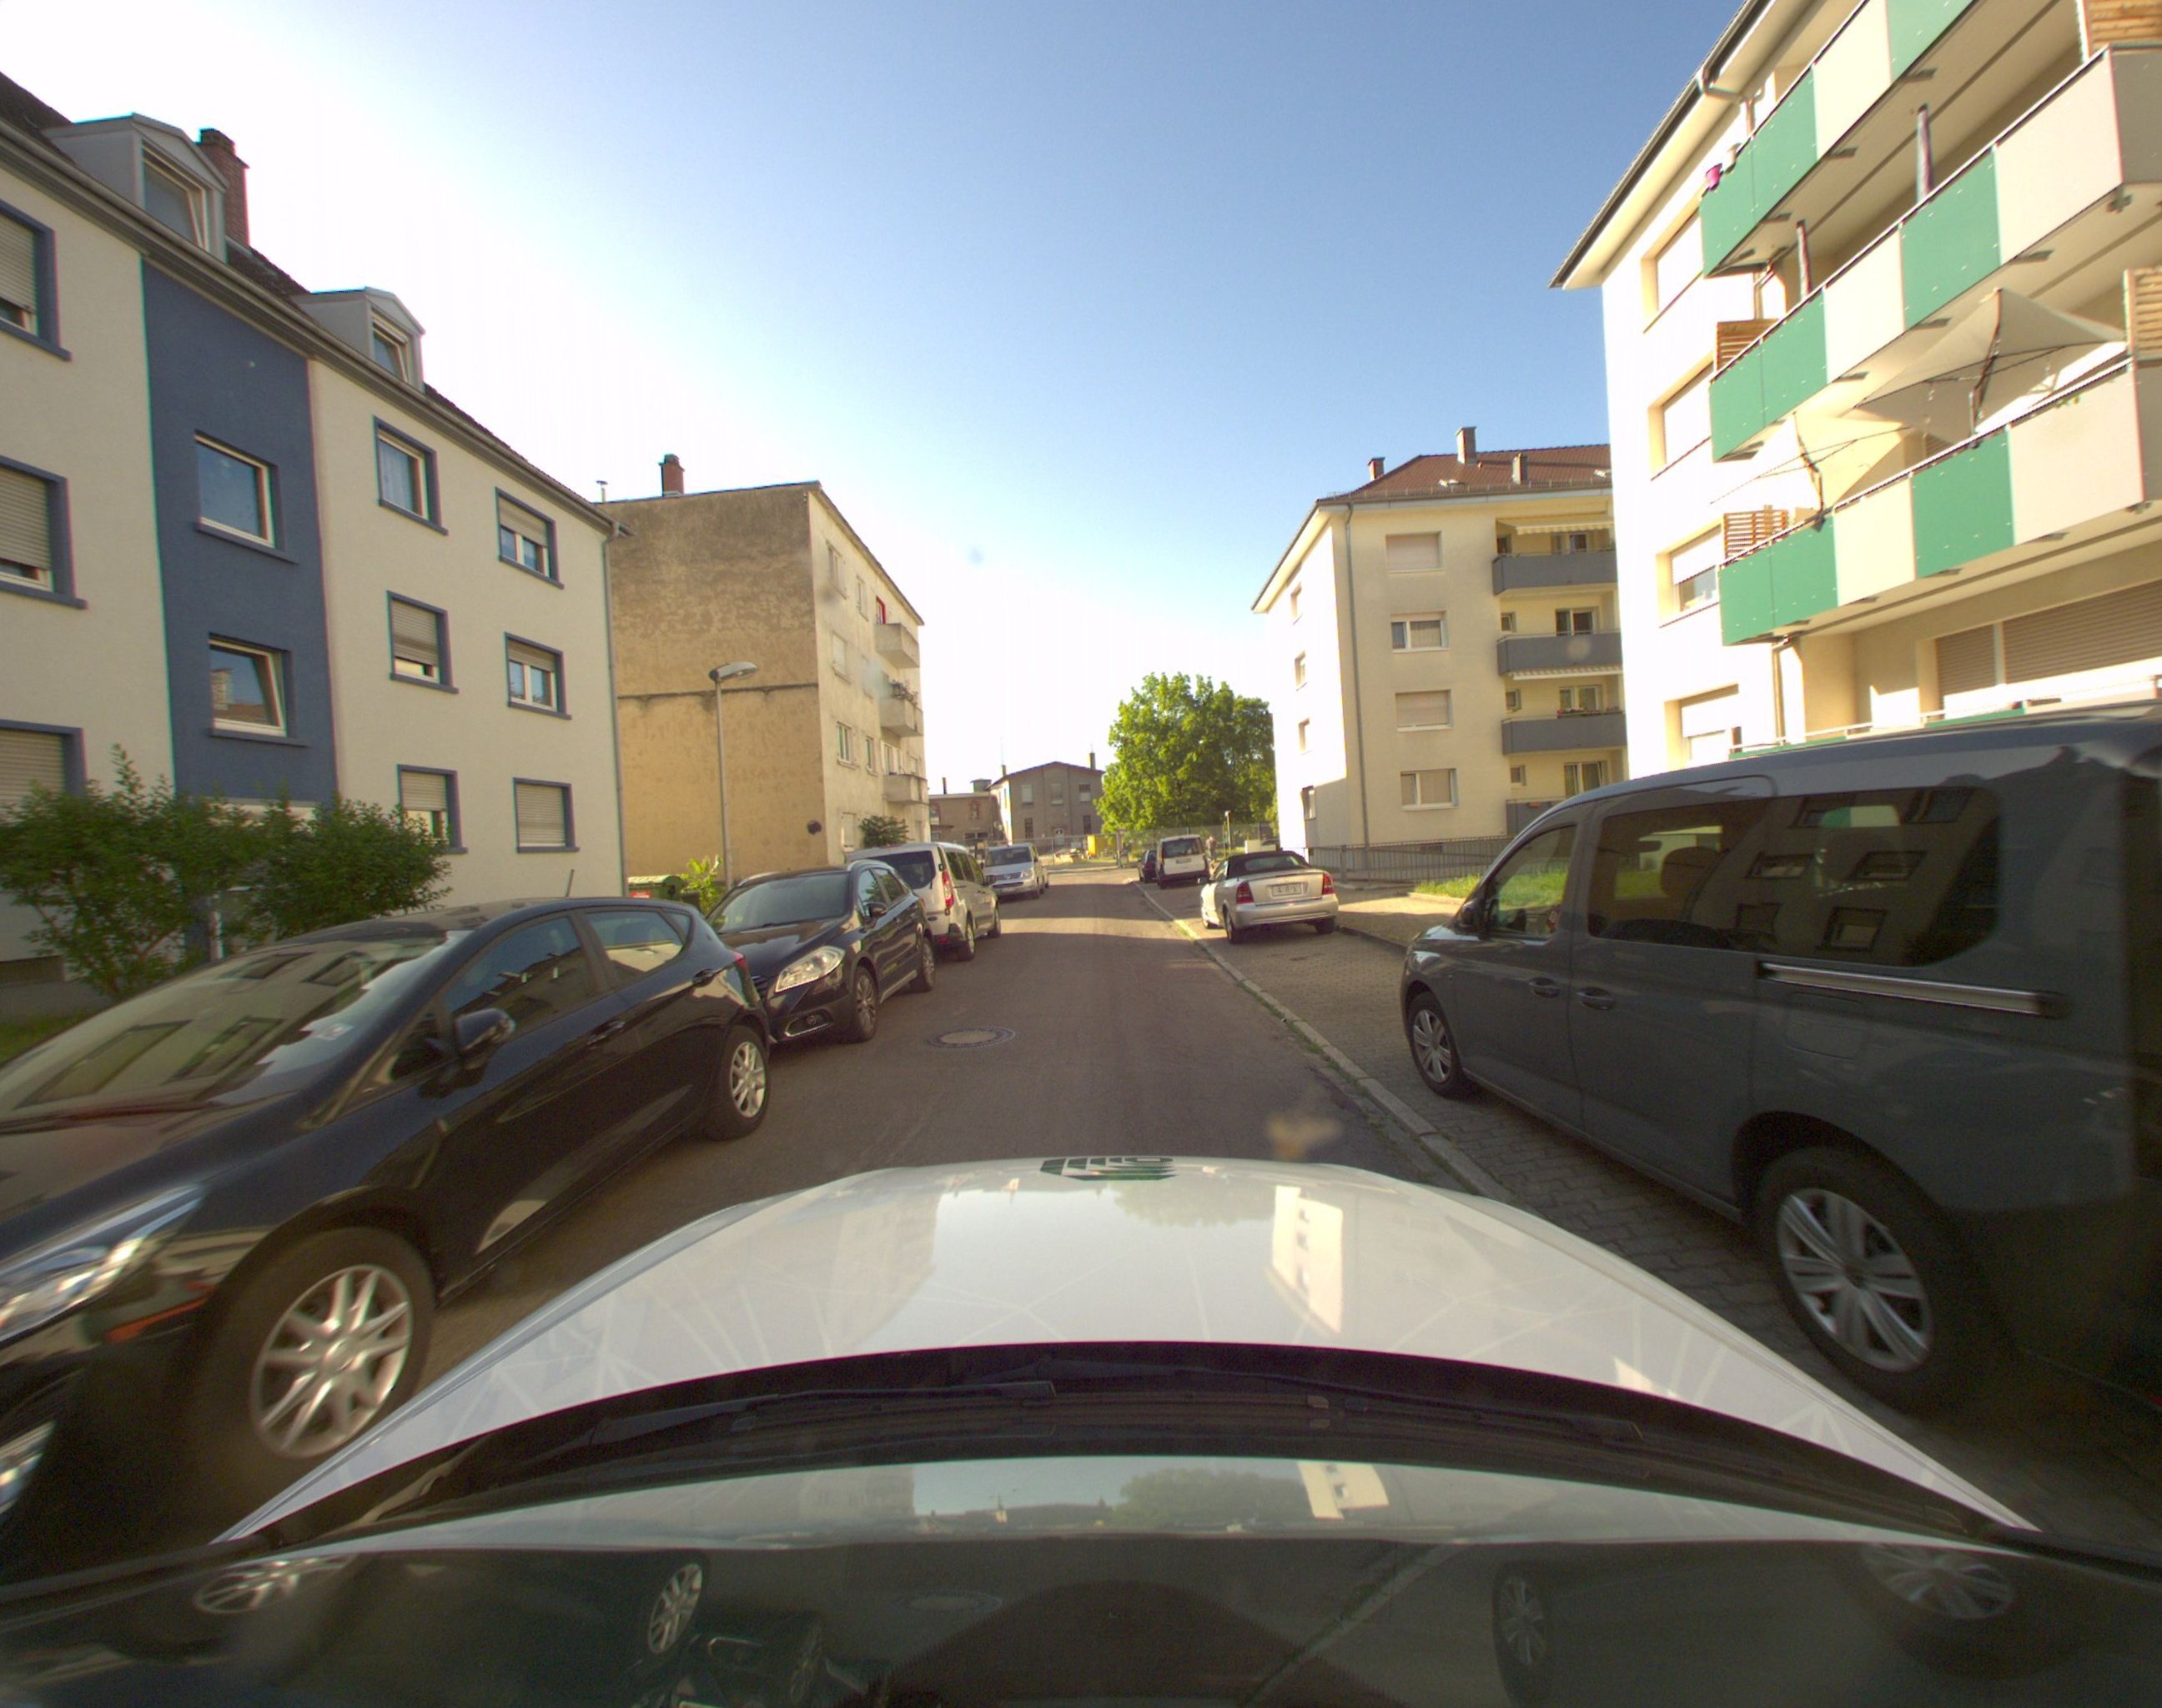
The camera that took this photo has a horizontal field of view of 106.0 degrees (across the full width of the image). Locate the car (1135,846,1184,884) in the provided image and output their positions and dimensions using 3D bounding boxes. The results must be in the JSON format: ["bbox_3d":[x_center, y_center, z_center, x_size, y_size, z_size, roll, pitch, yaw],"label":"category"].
[{"bbox_3d":[3.394,0.455,35.861,1.759,1.362,4.095,-6,0,1],"label":"car"}]

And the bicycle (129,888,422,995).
[{"bbox_3d":[-9.949,1.062,10.149,2.665,1.130,0.772,-2,0,-6],"label":"bicycle"}]

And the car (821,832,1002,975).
[{"bbox_3d":[-2.569,0.709,13.473,1.890,1.855,4.196,-5,-1,1],"label":"car"}]

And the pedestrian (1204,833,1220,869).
[{"bbox_3d":[6.749,-0.151,41.950,0.650,1.815,0.616,-6,0,11],"label":"pedestrian"}]

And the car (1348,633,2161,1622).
[{"bbox_3d":[2.922,0.467,3.679,1.890,1.855,4.343,-5,-1,0],"label":"car"}]

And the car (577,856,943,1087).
[{"bbox_3d":[-2.710,0.871,8.016,1.826,1.515,4.000,-6,0,1],"label":"car"}]

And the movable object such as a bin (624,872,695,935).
[{"bbox_3d":[-11.440,1.311,22.165,1.065,1.539,1.357,-6,0,-1],"label":"movable object such as a bin"}]

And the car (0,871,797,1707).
[{"bbox_3d":[-2.747,0.915,3.253,1.653,1.443,3.872,-6,0,1],"label":"car"}]

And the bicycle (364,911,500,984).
[{"bbox_3d":[-10.199,1.461,12.818,1.640,0.936,0.548,-6,0,3],"label":"bicycle"}]

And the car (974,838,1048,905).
[{"bbox_3d":[-2.401,0.574,29.134,1.987,2.013,4.455,-6,0,1],"label":"car"}]

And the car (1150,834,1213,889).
[{"bbox_3d":[3.654,0.255,30.255,1.759,1.739,4.095,-6,0,1],"label":"car"}]

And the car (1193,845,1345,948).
[{"bbox_3d":[3.090,0.643,14.212,1.711,1.364,4.056,-6,0,2],"label":"car"}]
